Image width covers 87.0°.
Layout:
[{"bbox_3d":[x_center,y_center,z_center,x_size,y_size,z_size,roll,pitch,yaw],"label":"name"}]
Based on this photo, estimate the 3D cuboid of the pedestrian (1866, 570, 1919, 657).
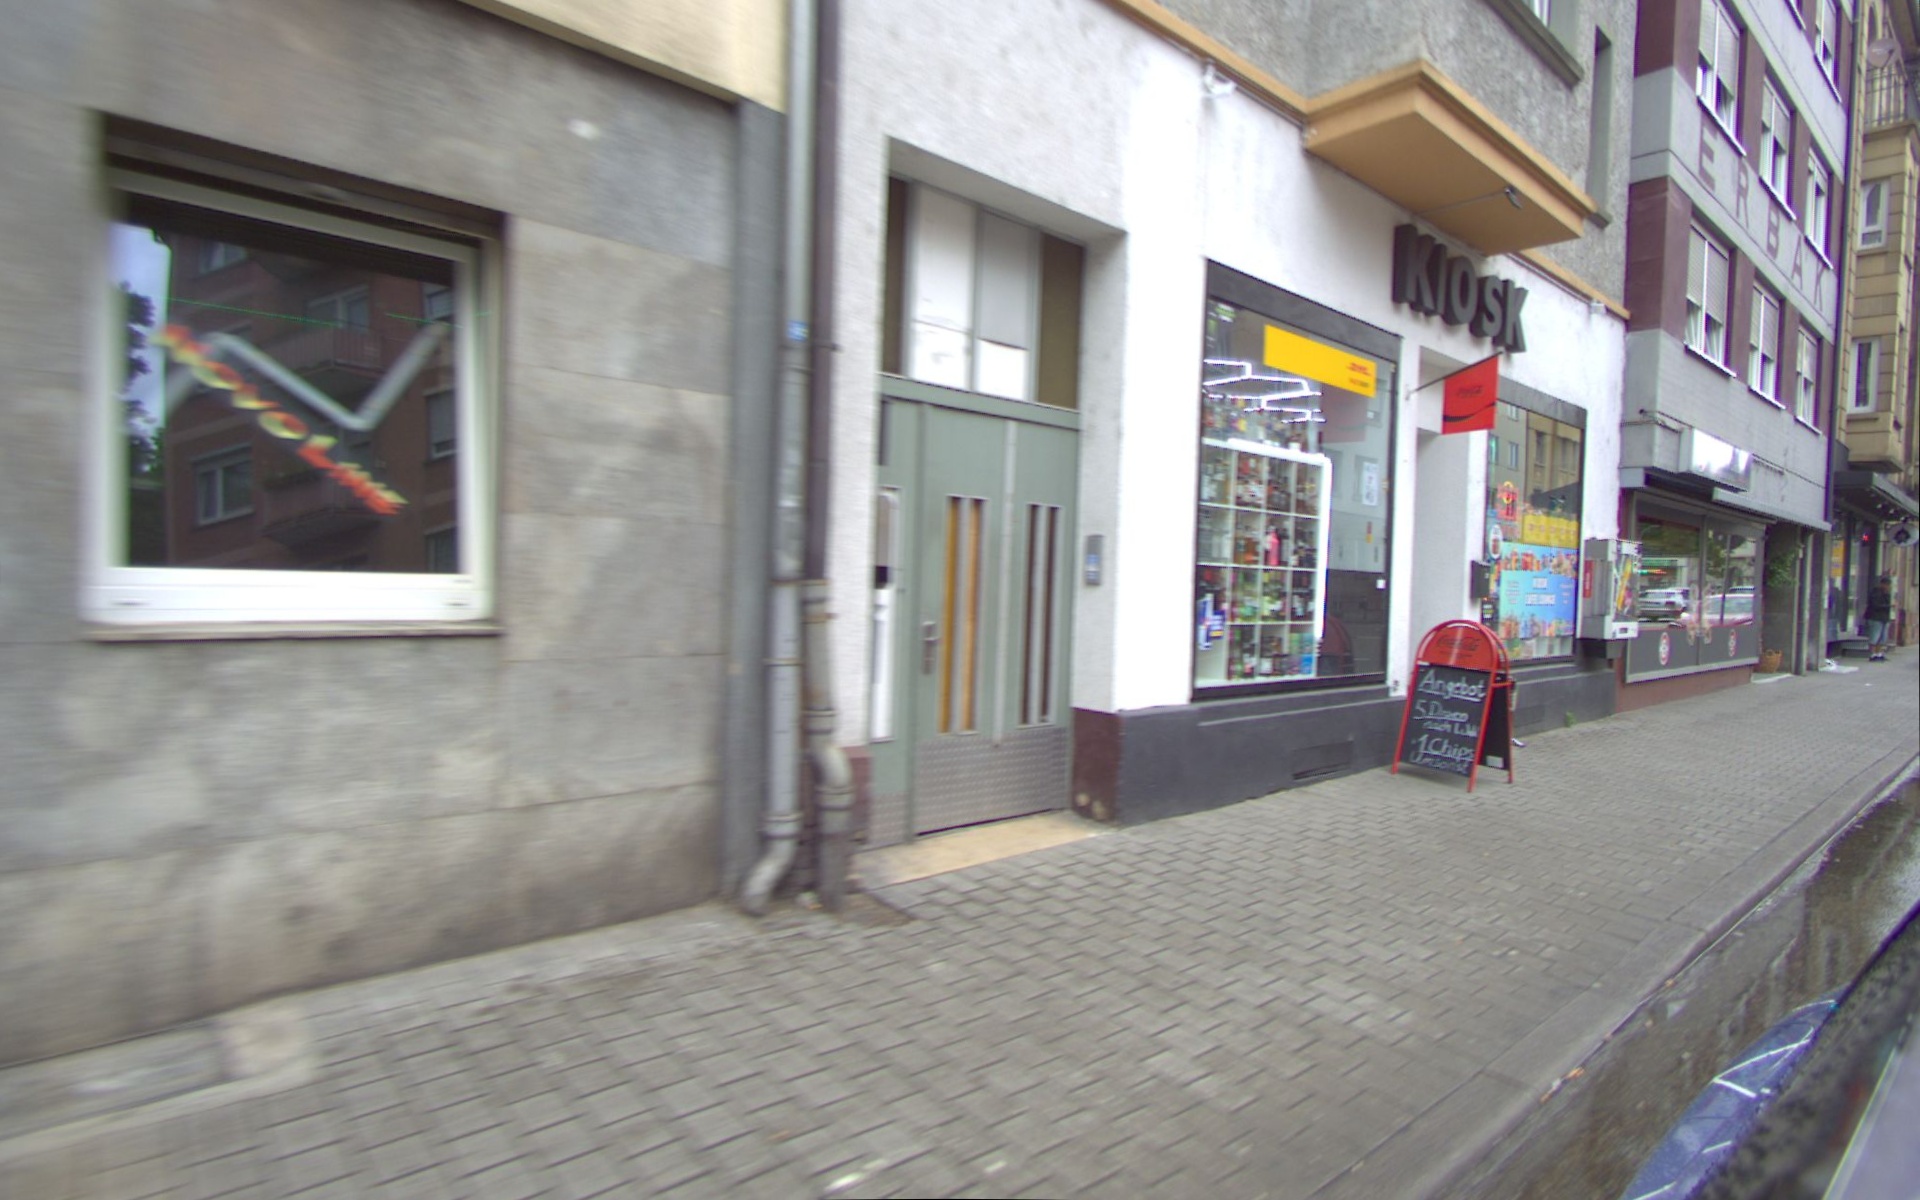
[{"bbox_3d":[19.890,0.270,21.561,0.782,1.801,0.745,-1,3,-44],"label":"pedestrian"}]
